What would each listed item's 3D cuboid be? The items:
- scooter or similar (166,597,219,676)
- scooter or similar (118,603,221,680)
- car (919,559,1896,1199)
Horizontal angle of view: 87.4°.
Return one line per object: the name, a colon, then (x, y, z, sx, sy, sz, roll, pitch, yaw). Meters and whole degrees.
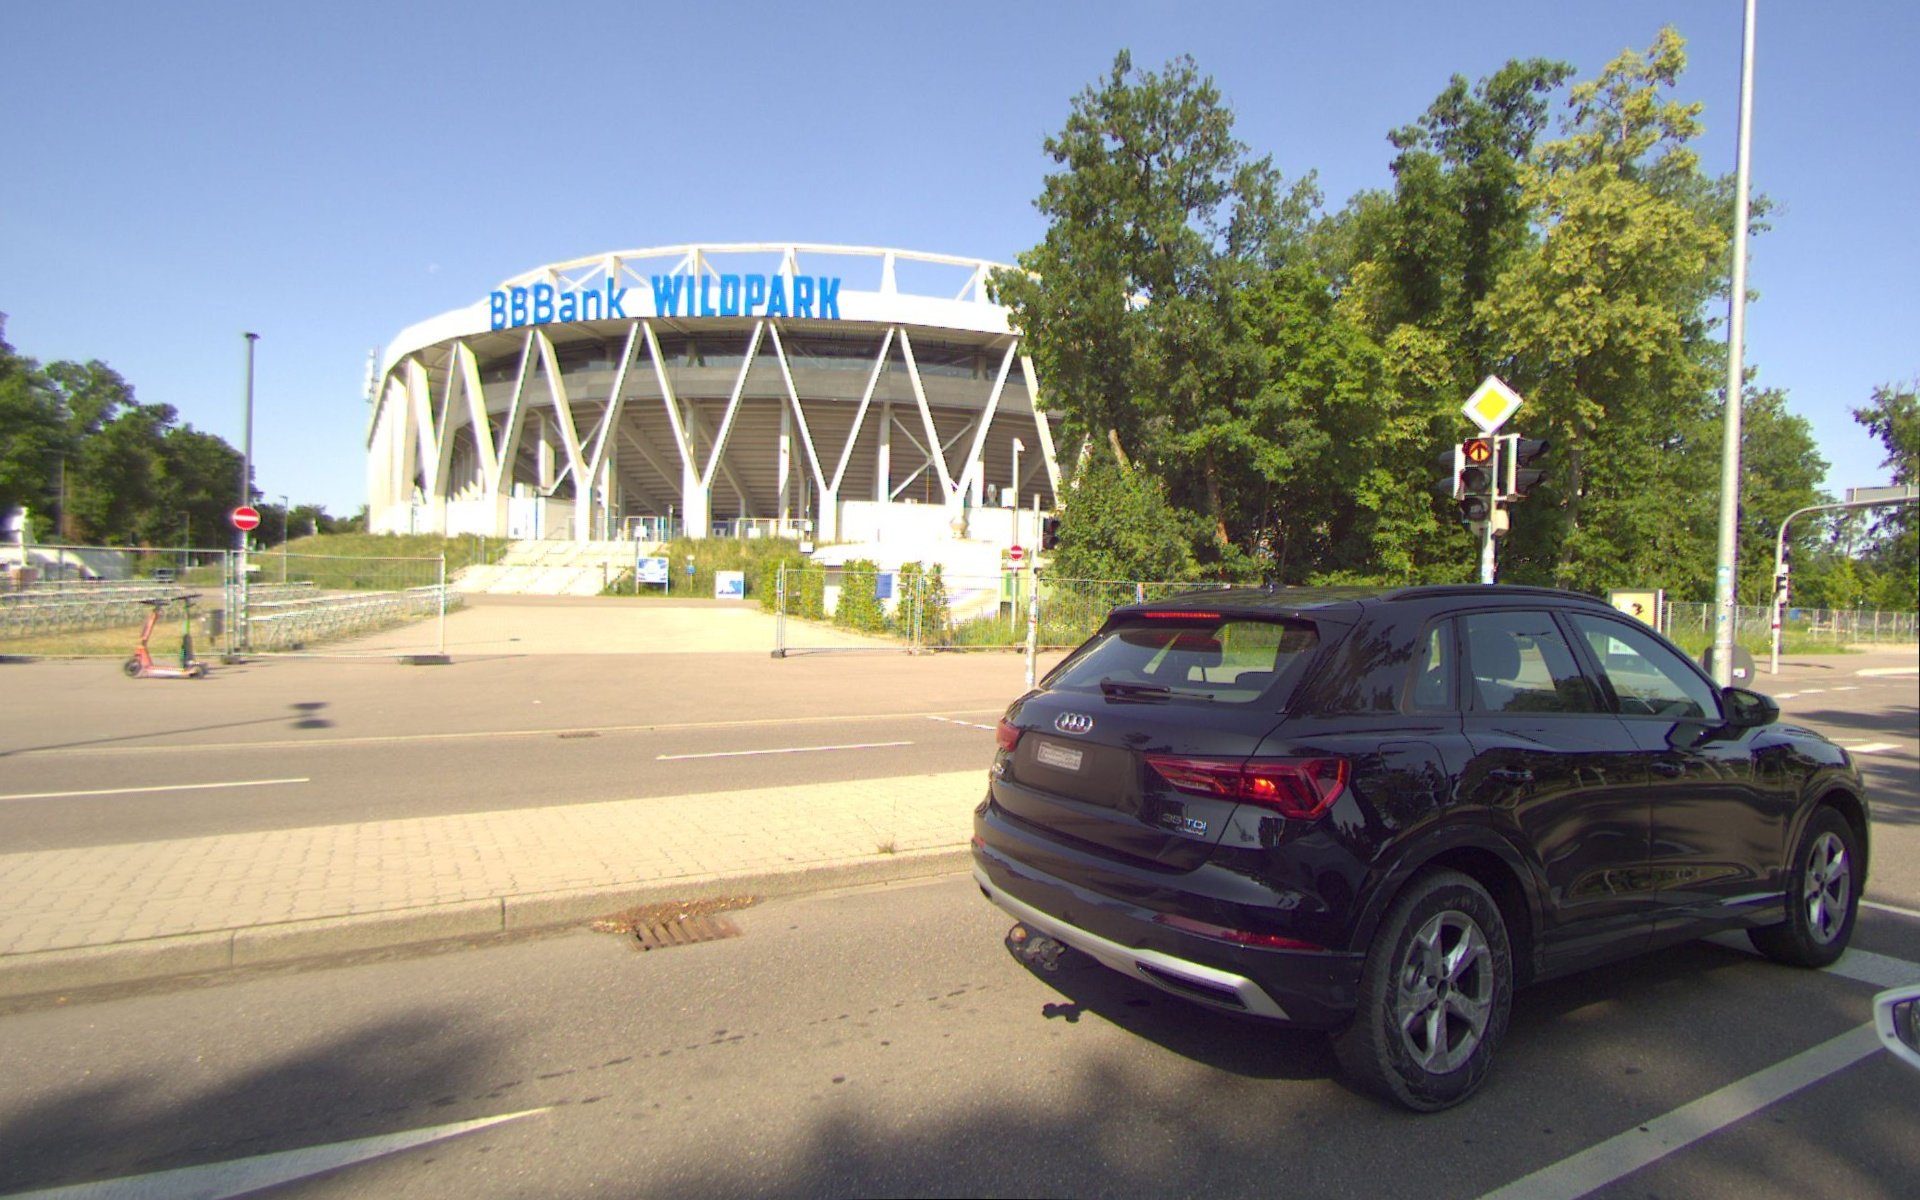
scooter or similar: (-12.591, 0.581, 16.466, 1.064, 1.238, 0.395, 2, 1, 36)
scooter or similar: (-12.313, 0.644, 15.677, 1.180, 1.161, 0.393, 1, 1, -25)
car: (2.030, 0.722, 4.211, 4.100, 1.565, 1.680, 1, -1, -30)
